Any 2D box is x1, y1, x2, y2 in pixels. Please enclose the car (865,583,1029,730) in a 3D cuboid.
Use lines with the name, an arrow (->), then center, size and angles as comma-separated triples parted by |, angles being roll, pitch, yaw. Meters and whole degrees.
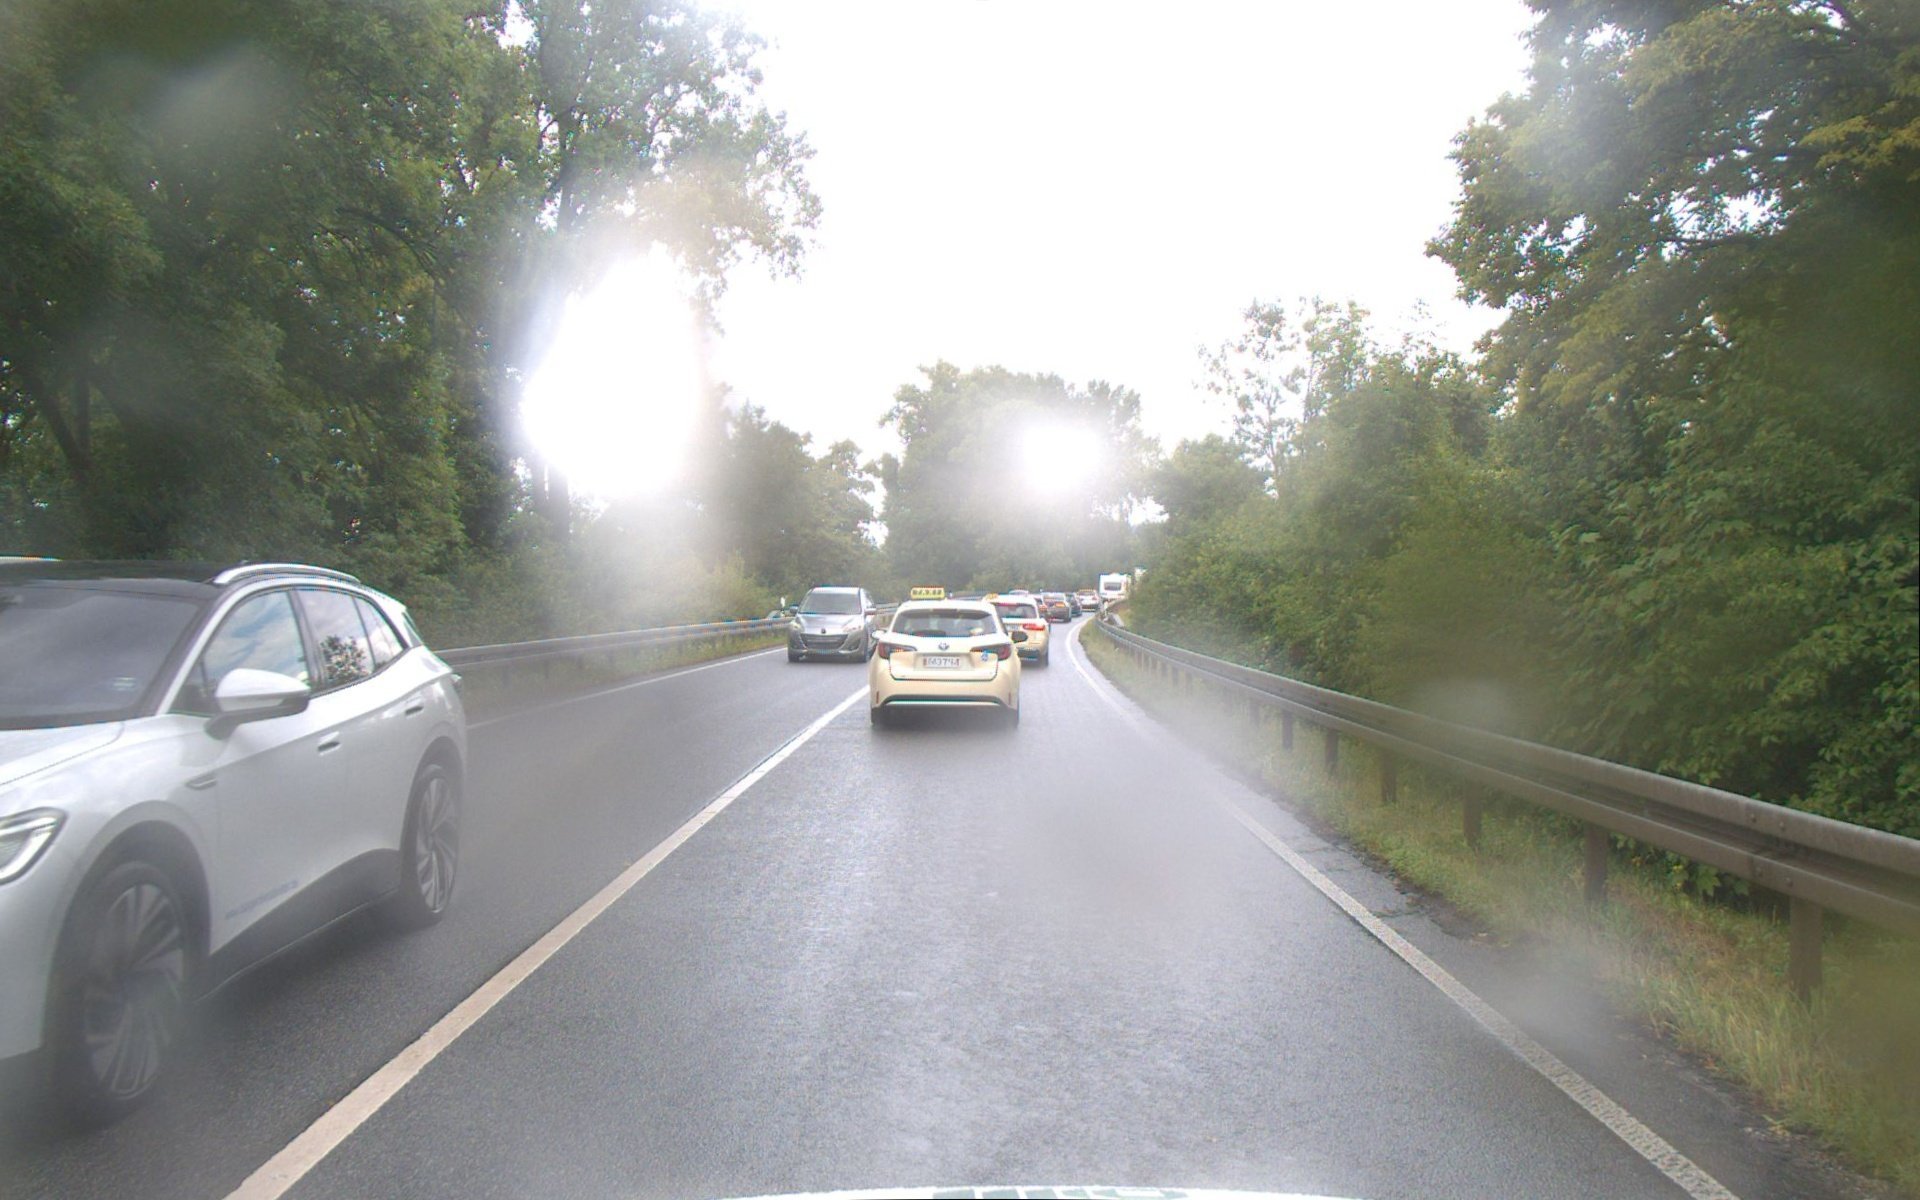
car -> -0.104, 0.646, 20.342 | 1.796, 1.608, 4.157 | 0, -1, 1

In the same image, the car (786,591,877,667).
car -> -2.845, 0.599, 37.420 | 1.657, 1.601, 4.375 | 1, 0, 1

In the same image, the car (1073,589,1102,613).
car -> 9.005, 0.076, 116.233 | 1.732, 1.574, 3.817 | 0, -1, 9

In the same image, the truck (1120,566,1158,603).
truck -> 18.675, -1.588, 171.994 | 3.041, 3.745, 7.005 | 0, -1, 14

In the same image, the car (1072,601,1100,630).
car -> 7.417, 0.895, 96.890 | 1.582, 1.641, 3.623 | 0, -1, 5

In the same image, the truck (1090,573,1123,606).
truck -> 12.699, -0.890, 144.034 | 2.496, 2.760, 7.537 | 0, -1, 3

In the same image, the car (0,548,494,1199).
car -> -3.171, 0.650, 6.024 | 1.770, 1.559, 4.206 | 0, 0, 0

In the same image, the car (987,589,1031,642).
car -> 1.488, 0.488, 50.895 | 1.274, 1.574, 3.260 | 0, -1, 1

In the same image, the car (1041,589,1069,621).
car -> 4.781, 0.266, 83.009 | 1.142, 1.574, 2.606 | 0, -1, 8

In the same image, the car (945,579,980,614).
car -> 0.169, -0.209, 100.817 | 1.952, 2.049, 4.001 | 0, -1, 2

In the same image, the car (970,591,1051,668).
car -> 1.168, 0.655, 36.872 | 1.632, 1.608, 3.894 | 0, -1, 4

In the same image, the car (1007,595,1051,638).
car -> 2.624, 0.651, 63.393 | 1.578, 1.574, 3.814 | 0, -2, 1
